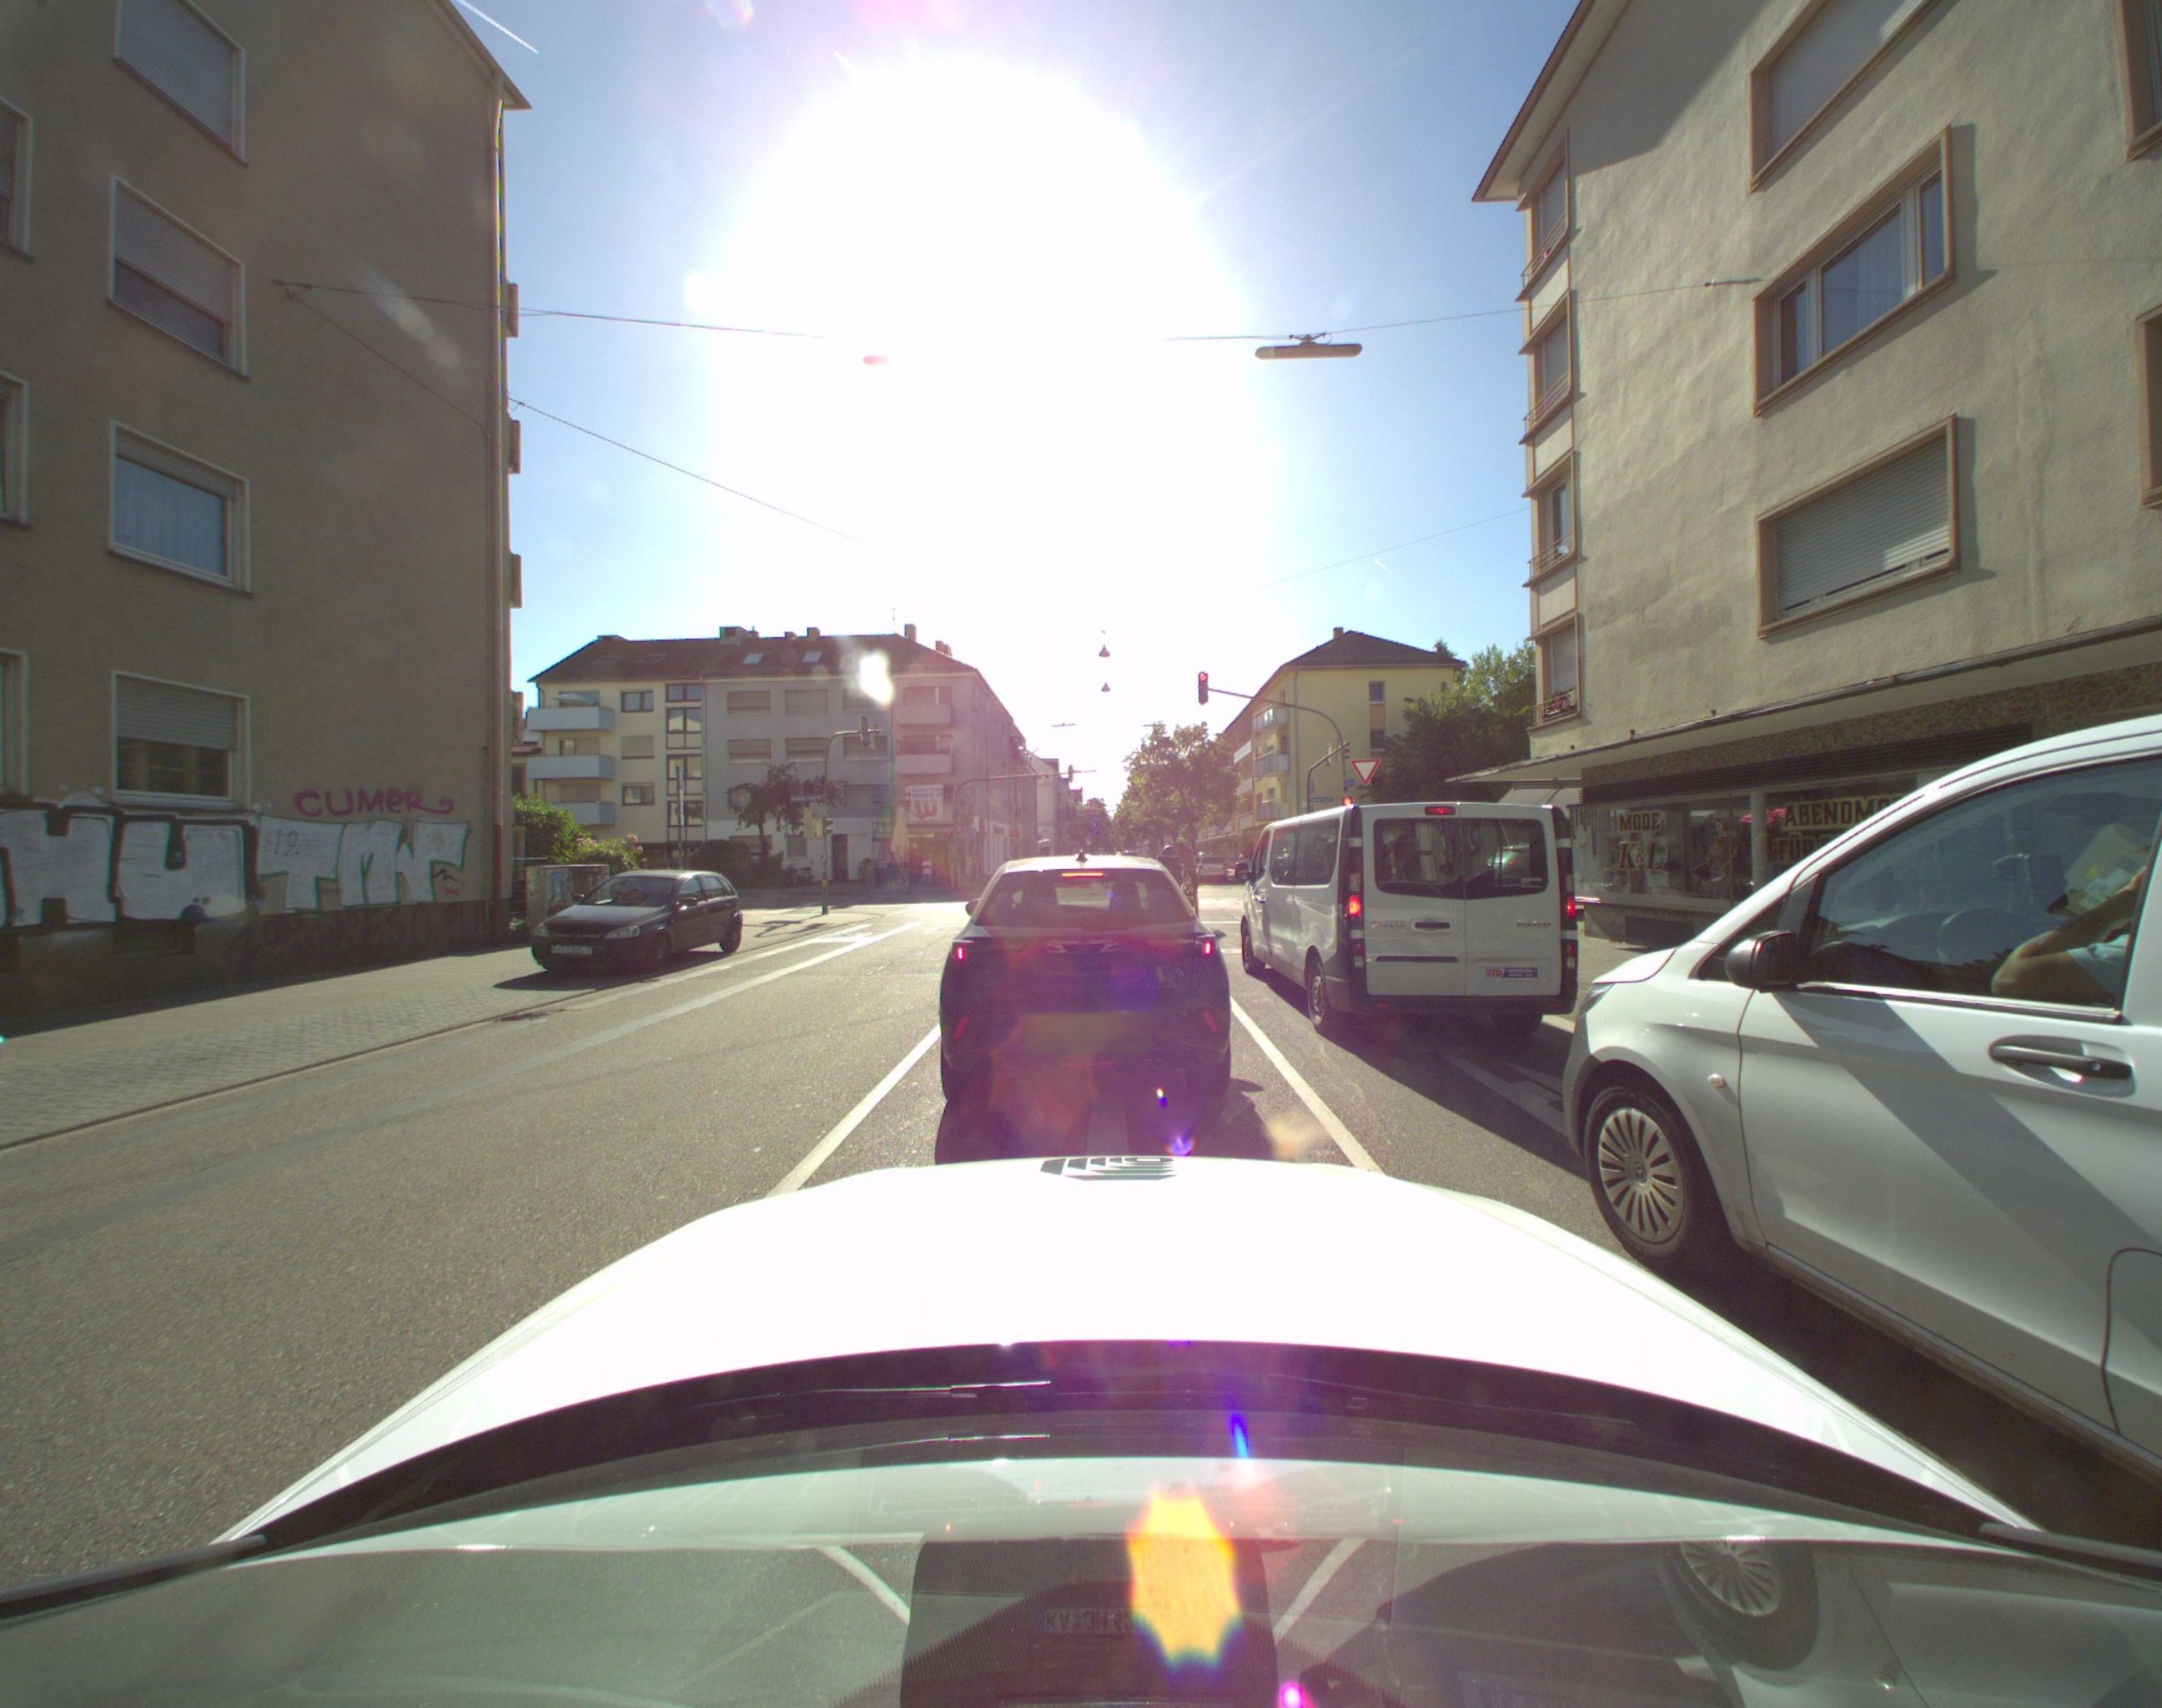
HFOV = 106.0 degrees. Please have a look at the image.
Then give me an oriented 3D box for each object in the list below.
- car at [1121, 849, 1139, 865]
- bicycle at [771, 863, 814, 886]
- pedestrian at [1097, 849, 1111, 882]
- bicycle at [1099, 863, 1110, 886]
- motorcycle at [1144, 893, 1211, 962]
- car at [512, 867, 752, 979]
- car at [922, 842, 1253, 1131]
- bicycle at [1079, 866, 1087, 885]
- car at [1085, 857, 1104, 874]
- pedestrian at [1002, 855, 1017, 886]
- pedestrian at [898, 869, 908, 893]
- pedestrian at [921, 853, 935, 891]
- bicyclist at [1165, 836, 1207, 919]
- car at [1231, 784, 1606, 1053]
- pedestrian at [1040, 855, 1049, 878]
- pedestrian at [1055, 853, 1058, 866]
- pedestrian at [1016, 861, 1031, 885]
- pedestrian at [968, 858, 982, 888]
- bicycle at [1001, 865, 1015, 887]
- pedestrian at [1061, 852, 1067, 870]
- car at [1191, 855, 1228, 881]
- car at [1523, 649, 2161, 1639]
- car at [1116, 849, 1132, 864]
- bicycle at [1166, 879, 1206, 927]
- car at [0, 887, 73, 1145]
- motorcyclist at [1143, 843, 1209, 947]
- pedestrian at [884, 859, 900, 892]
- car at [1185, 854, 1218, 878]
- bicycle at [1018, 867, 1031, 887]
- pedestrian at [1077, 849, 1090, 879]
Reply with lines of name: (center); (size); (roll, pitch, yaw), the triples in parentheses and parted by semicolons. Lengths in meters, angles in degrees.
car: (5.376, 0.331, 89.358); (1.894, 1.728, 4.076); (-1, 0, 3)
bicycle: (-15.333, 1.085, 43.263); (2.103, 1.172, 0.735); (-1, 0, -22)
pedestrian: (1.219, 0.591, 42.783); (0.704, 1.701, 0.802); (-1, 0, 0)
bicycle: (1.225, 1.039, 42.721); (0.520, 1.147, 2.170); (-1, 0, 0)
motorcycle: (1.406, 1.061, 12.222); (0.822, 0.845, 1.885); (-1, 0, 1)
car: (-6.784, 0.951, 12.806); (1.610, 1.425, 3.711); (1, 0, 1)
car: (0.042, 0.716, 6.408); (1.765, 1.530, 3.999); (-1, 0, 0)
bicycle: (0.111, 1.145, 44.171); (0.442, 0.992, 2.068); (-1, 0, 0)
car: (1.416, 1.199, 85.652); (1.817, 1.728, 4.004); (-1, 0, 3)
pedestrian: (-3.866, 0.876, 43.818); (0.704, 1.678, 0.802); (-1, 0, 0)
pedestrian: (-8.250, 1.232, 37.840); (0.354, 1.092, 0.461); (-1, 0, -1)
pedestrian: (-7.214, 0.856, 38.386); (0.560, 1.775, 0.582); (-1, 0, -7)
bicyclist: (2.260, 0.484, 17.664); (0.687, 1.712, 1.414); (-1, 0, 0)
car: (2.978, 0.484, 8.551); (1.986, 1.979, 4.896); (1, 0, 1)
pedestrian: (-2.681, 0.891, 59.469); (0.568, 1.690, 0.588); (-1, 0, 1)
pedestrian: (-3.080, 0.670, 102.793); (0.400, 1.675, 0.418); (-1, 0, 1)
pedestrian: (-3.091, 1.031, 43.765); (0.704, 1.253, 0.802); (-1, 0, 0)
pedestrian: (-5.481, 0.975, 42.060); (0.615, 1.521, 0.724); (-1, 0, -1)
bicycle: (-3.937, 1.186, 44.205); (0.520, 1.147, 2.283); (-1, 0, 0)
pedestrian: (-1.618, 0.678, 77.500); (0.486, 1.690, 0.588); (-1, 0, 1)
car: (7.422, 0.776, 47.212); (1.628, 1.433, 3.958); (-1, 0, 2)
car: (2.942, 0.535, 1.252); (1.830, 1.869, 4.996); (-1, 0, 0)
car: (5.136, 0.279, 97.939); (1.894, 1.728, 4.003); (-1, 0, 2)
bicycle: (2.266, 1.038, 17.790); (0.575, 0.904, 2.301); (-1, 0, 0)
car: (-7.116, 0.929, 2.592); (1.711, 1.465, 4.817); (1, 0, 1)
motorcyclist: (1.434, 0.606, 12.473); (0.861, 1.502, 1.160); (-1, 0, 1)
pedestrian: (-8.758, 0.987, 37.778); (0.582, 1.521, 0.649); (-1, 0, -1)
car: (7.626, 0.747, 51.898); (1.628, 1.433, 4.002); (-1, 0, 2)
bicycle: (-3.069, 1.220, 44.198); (0.520, 0.992, 2.339); (-1, 0, 0)
pedestrian: (0.116, 0.553, 44.002); (0.678, 1.606, 0.762); (-1, 0, 0)
